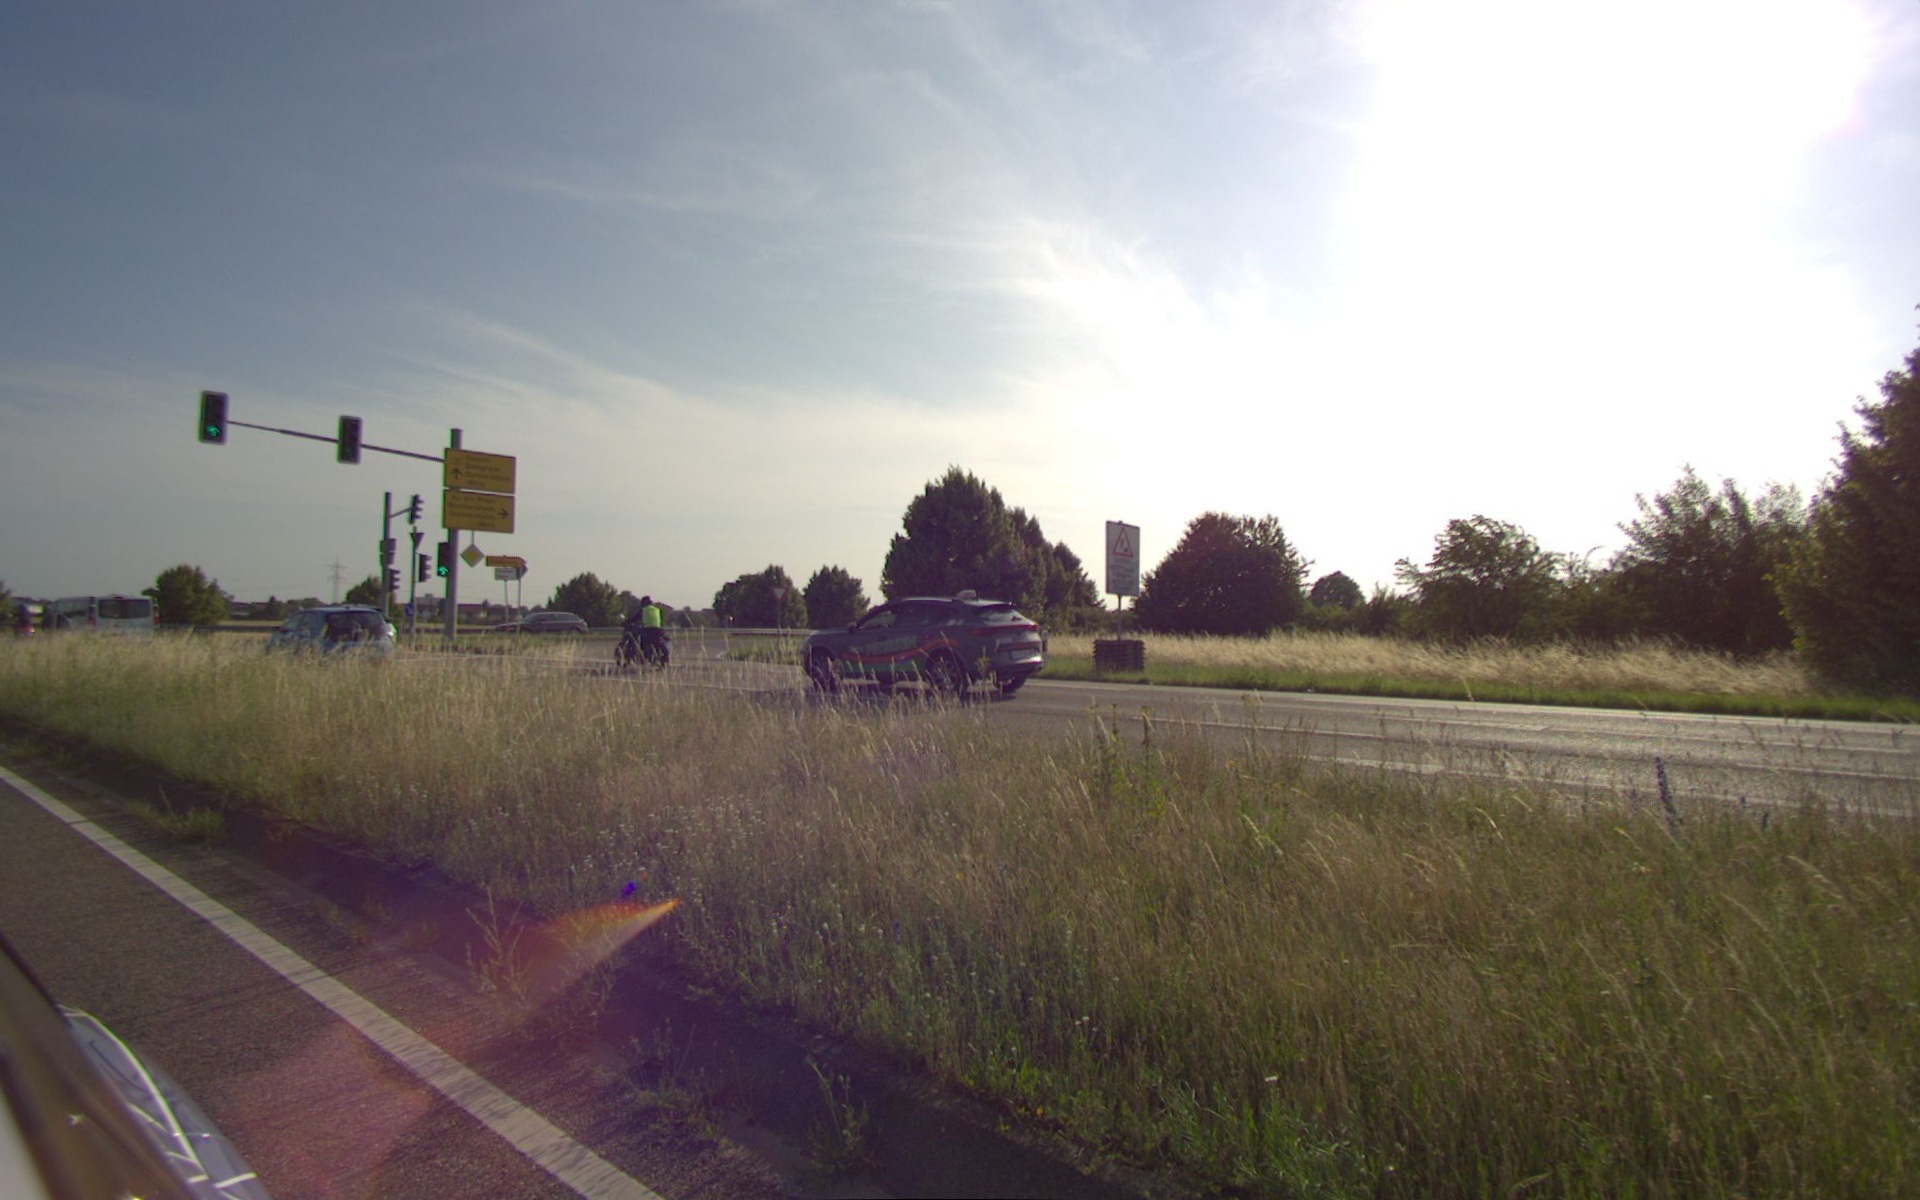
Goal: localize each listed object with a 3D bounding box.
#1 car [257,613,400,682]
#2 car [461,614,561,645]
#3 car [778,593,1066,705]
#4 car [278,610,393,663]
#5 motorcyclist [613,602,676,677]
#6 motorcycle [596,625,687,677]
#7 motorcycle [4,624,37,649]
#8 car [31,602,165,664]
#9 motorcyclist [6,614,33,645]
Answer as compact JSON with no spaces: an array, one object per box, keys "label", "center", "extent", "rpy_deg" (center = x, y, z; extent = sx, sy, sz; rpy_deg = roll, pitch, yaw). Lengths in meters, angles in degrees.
[{"label":"car","center":[-14.713,1.056,23.530],"extent":[3.746,1.454,1.663],"rpy_deg":[-1,-1,38]},{"label":"car","center":[-21.221,1.360,47.975],"extent":[1.952,1.409,3.958],"rpy_deg":[-1,-1,30]},{"label":"car","center":[-0.724,0.729,16.508],"extent":[4.606,1.577,1.894],"rpy_deg":[-1,-1,39]},{"label":"car","center":[-19.188,1.079,31.043],"extent":[4.128,1.536,1.690],"rpy_deg":[-1,-1,38]},{"label":"motorcyclist","center":[-7.024,0.861,22.525],"extent":[1.247,1.616,0.745],"rpy_deg":[-1,-1,36]},{"label":"motorcycle","center":[-7.125,1.111,22.587],"extent":[2.303,1.101,0.745],"rpy_deg":[-1,-1,36]},{"label":"motorcycle","center":[-45.339,1.746,48.819],"extent":[2.017,1.167,0.702],"rpy_deg":[-1,-1,33]},{"label":"car","center":[-28.657,1.045,33.569],"extent":[5.774,1.918,1.977],"rpy_deg":[-1,-1,35]},{"label":"motorcyclist","center":[-45.388,1.420,48.831],"extent":[1.017,1.476,0.699],"rpy_deg":[-1,-1,32]}]
